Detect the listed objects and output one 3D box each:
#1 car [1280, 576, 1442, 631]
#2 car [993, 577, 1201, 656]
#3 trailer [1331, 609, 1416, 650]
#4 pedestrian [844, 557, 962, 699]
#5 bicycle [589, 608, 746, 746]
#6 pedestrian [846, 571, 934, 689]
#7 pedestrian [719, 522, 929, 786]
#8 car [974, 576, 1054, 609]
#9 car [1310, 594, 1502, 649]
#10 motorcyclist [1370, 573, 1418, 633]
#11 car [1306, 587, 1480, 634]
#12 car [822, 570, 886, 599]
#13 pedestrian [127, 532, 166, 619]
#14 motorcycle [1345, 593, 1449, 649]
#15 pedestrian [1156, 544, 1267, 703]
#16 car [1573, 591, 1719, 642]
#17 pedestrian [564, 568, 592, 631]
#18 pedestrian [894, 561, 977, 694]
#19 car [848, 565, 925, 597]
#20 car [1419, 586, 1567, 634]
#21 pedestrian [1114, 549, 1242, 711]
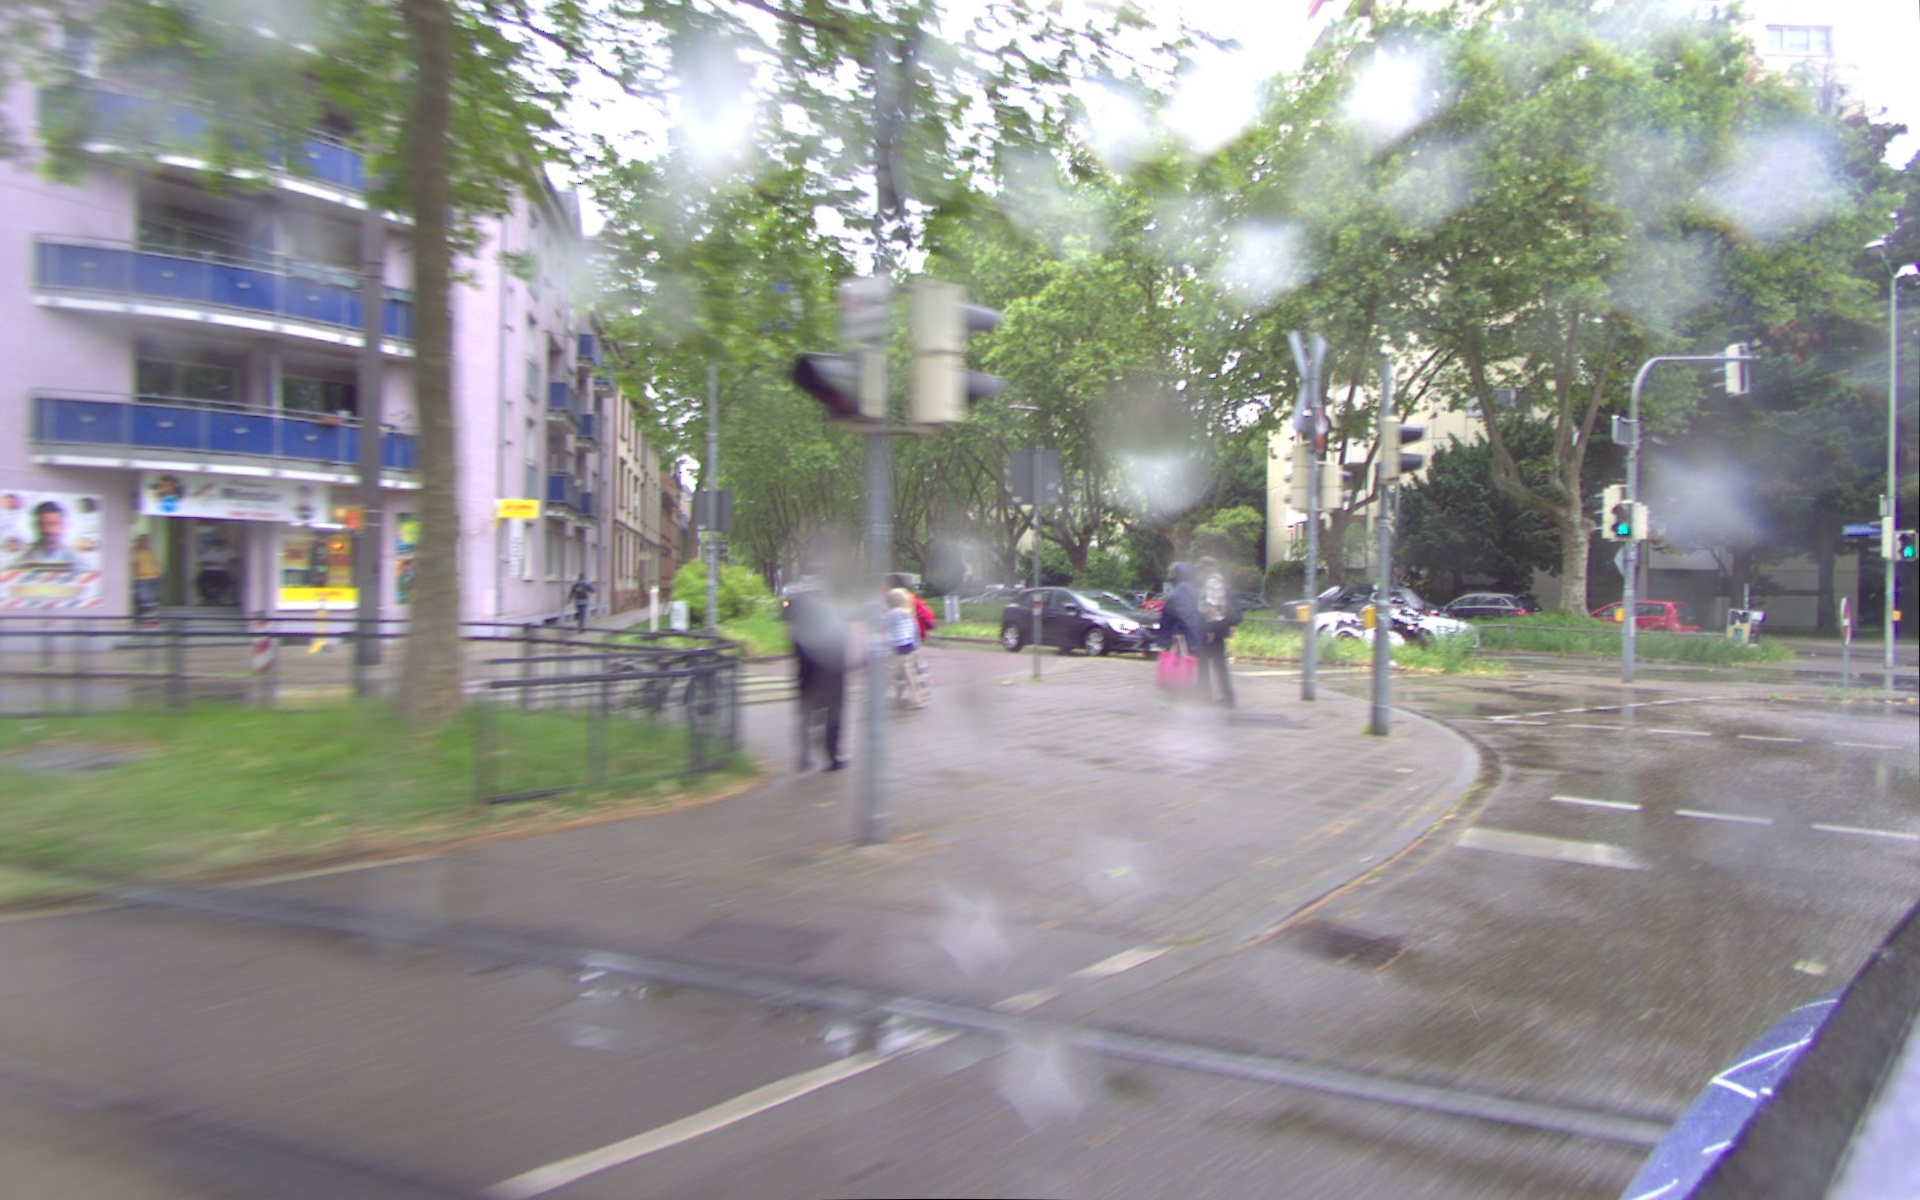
[{"bbox_3d":[12.980,0.099,32.939,4.511,1.685,1.877,1,0,-5],"label":"car"},{"bbox_3d":[2.764,0.287,21.242,1.958,1.479,4.175,1,0,-37],"label":"car"},{"bbox_3d":[9.372,0.657,22.976,1.007,0.852,1.483,1,0,-34],"label":"trailer"},{"bbox_3d":[-0.665,0.293,11.715,1.061,1.544,0.865,1,1,42],"label":"pedestrian"},{"bbox_3d":[-2.605,0.637,8.933,1.609,1.090,0.440,1,0,37],"label":"bicycle"},{"bbox_3d":[-0.889,0.348,12.710,0.661,1.399,1.011,1,1,-35],"label":"pedestrian"},{"bbox_3d":[-1.025,0.358,7.752,1.032,1.811,1.220,1,0,37],"label":"pedestrian"},{"bbox_3d":[2.784,-0.401,52.749,3.920,1.676,2.002,1,0,-5],"label":"car"},{"bbox_3d":[11.418,0.505,26.109,1.869,1.291,4.167,0,0,-39],"label":"car"},{"bbox_3d":[10.122,0.058,23.620,0.743,1.368,0.755,1,0,-35],"label":"motorcyclist"},{"bbox_3d":[15.510,0.330,36.582,2.213,1.537,5.536,0,0,-32],"label":"car"},{"bbox_3d":[-10.160,-1.488,97.014,5.892,2.683,1.989,1,0,18],"label":"car"},{"bbox_3d":[-15.477,-0.463,19.255,0.591,1.622,0.466,1,0,41],"label":"pedestrian"},{"bbox_3d":[10.134,0.468,23.555,0.864,1.230,2.075,1,0,-35],"label":"motorcycle"},{"bbox_3d":[2.993,0.254,12.098,0.795,1.803,0.996,1,1,-28],"label":"pedestrian"},{"bbox_3d":[21.983,0.489,32.539,1.806,1.544,3.463,1,0,-32],"label":"car"},{"bbox_3d":[-11.320,-0.012,29.984,0.629,1.826,0.623,1,1,-8],"label":"pedestrian"},{"bbox_3d":[-0.309,0.313,12.427,0.679,1.567,0.762,1,1,-35],"label":"pedestrian"},{"bbox_3d":[-5.638,-1.474,77.877,5.535,2.431,2.219,1,0,20],"label":"car"},{"bbox_3d":[19.301,0.329,36.834,1.901,1.628,4.460,1,0,-30],"label":"car"},{"bbox_3d":[2.410,0.311,11.300,0.975,1.707,1.058,1,1,-17],"label":"pedestrian"}]
